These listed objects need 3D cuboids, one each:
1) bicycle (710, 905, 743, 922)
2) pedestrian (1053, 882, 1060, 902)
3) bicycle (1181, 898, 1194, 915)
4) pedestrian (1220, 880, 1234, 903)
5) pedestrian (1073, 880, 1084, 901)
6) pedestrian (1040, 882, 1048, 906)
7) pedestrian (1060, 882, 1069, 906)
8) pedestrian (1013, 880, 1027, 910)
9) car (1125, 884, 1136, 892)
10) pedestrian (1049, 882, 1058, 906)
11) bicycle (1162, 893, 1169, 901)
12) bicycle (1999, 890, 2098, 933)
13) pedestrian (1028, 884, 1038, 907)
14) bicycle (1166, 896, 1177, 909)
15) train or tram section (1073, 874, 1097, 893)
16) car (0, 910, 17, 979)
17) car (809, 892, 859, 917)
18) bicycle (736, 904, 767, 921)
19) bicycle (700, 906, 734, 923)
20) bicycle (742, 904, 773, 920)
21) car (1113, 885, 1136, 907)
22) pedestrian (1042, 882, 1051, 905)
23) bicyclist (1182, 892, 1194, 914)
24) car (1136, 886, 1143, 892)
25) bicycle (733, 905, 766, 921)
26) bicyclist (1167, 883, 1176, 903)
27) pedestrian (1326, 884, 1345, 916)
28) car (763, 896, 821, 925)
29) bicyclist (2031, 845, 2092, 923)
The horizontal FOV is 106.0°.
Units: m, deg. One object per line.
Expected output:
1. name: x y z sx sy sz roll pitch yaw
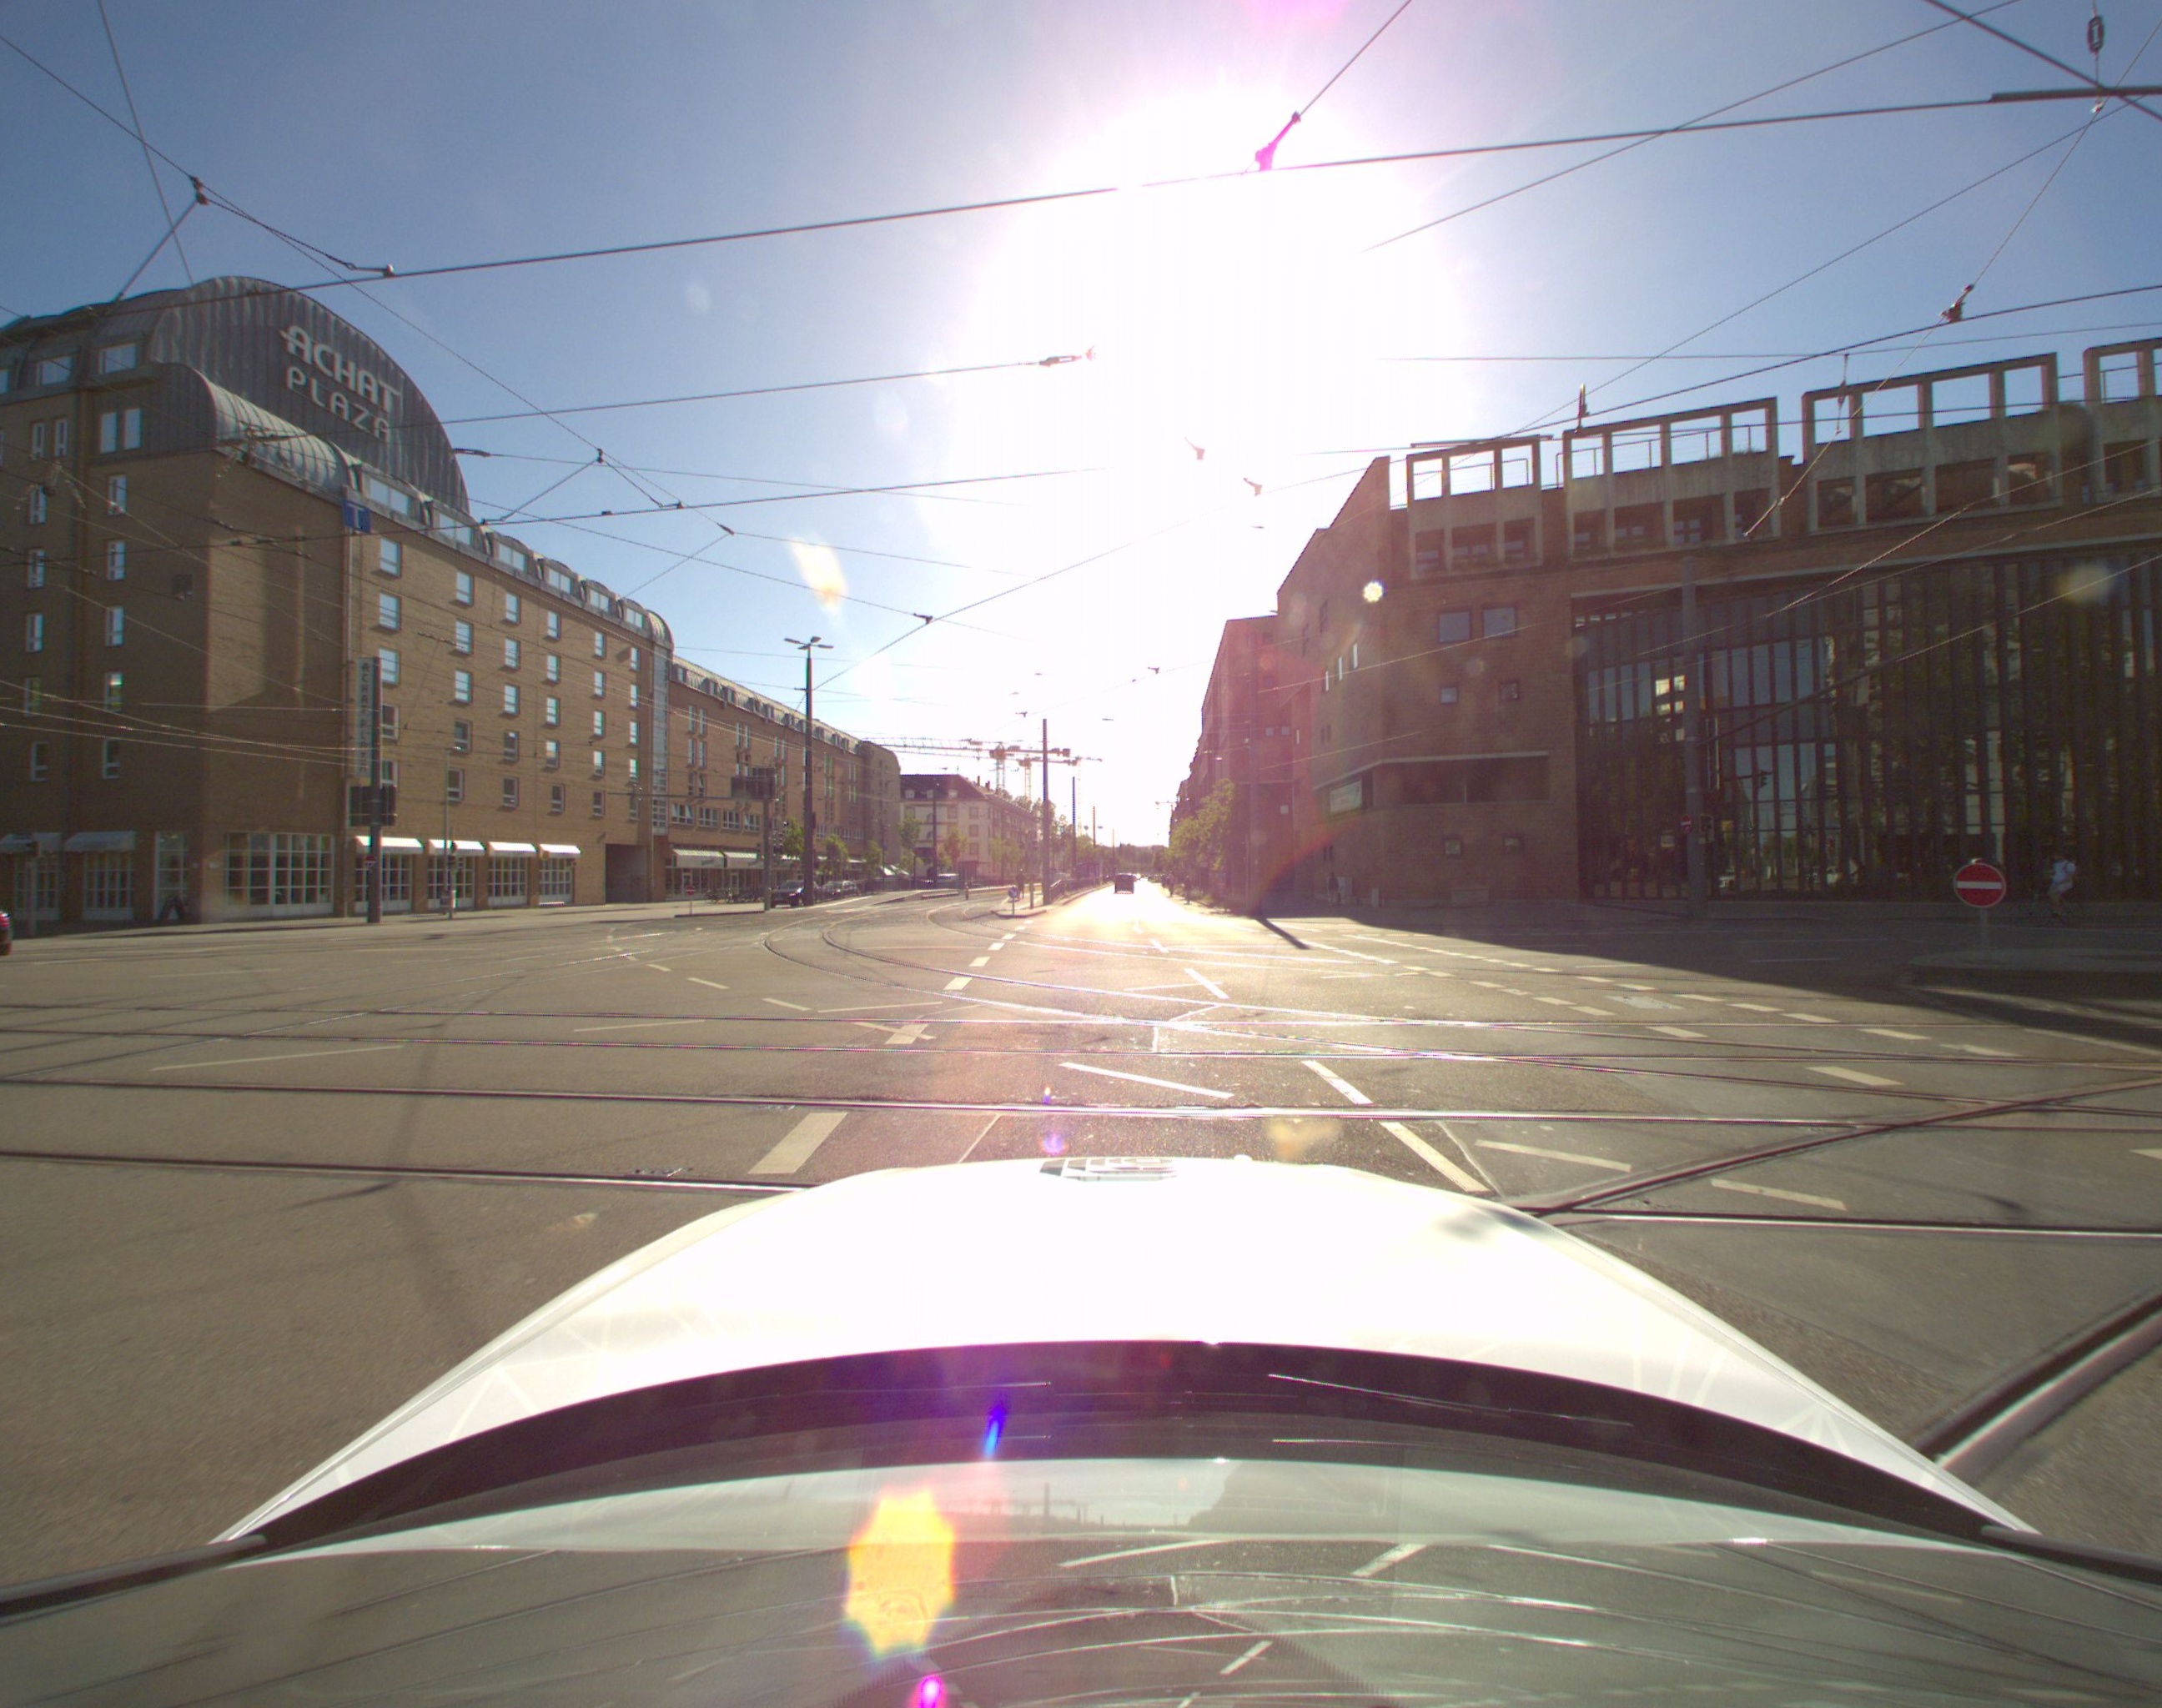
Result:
1. bicycle: -28.188 4.701 64.770 2.467 1.310 0.736 -2 -3 13
2. pedestrian: -2.012 3.094 66.264 0.536 1.655 0.633 -1 -3 2
3. bicycle: 6.652 3.279 50.949 0.600 0.985 2.315 -1 -3 2
4. pedestrian: 11.137 2.839 61.984 0.876 1.717 0.931 -1 -3 2
5. pedestrian: -0.188 2.977 66.858 0.717 1.735 0.599 0 -3 -15
6. pedestrian: -2.588 2.830 57.045 0.508 1.655 0.762 -1 -3 2
7. pedestrian: -1.173 2.838 57.335 0.536 1.655 0.706 -1 -3 2
8. pedestrian: -3.594 2.392 47.802 0.612 1.669 0.864 -4 -2 1
9. car: 10.192 7.005 167.525 1.986 1.728 4.001 -1 -2 2
10. pedestrian: -1.941 2.837 57.303 0.536 1.655 0.896 -1 -3 2
11. bicycle: 9.789 4.994 94.594 0.664 0.985 2.586 -1 -3 2
12. bicycle: 24.102 1.421 20.298 1.664 0.995 0.672 -1 -3 -3
13. pedestrian: -3.373 2.916 57.579 0.598 1.567 0.914 -1 -3 2
14. bicycle: 7.160 3.821 64.284 0.664 0.985 2.586 -1 -3 2
15. train or tram section: 0.758 4.892 134.917 2.314 3.004 13.182 0 -2 7
16. car: -25.151 2.000 17.989 4.462 1.449 1.743 -3 -3 35
17. car: -16.157 3.287 53.526 1.602 1.398 4.231 -5 -2 4
18. bicycle: -27.456 4.874 67.845 2.467 1.310 0.736 -2 -3 13
19. bicycle: -28.512 4.734 63.851 2.467 1.310 0.736 -2 -3 13
20. bicycle: -27.324 4.902 68.744 2.467 1.310 0.736 -2 -3 13
21. car: 3.986 3.853 75.005 1.986 1.948 4.001 -1 -3 2
22. pedestrian: -2.608 2.977 61.606 0.536 1.774 0.633 -1 -3 2
23. bicyclist: 6.629 3.049 50.405 0.590 1.336 0.933 -1 -3 2
24. car: 16.403 9.859 229.779 1.985 1.420 4.003 -1 -2 4
25. bicycle: -27.128 4.820 66.664 2.467 1.310 0.736 -2 -3 13
26. bicyclist: 7.149 3.094 64.150 0.664 1.527 0.707 -1 -3 2
27. pedestrian: 12.369 2.227 39.583 0.615 1.563 0.987 -1 -3 1
28. car: -16.541 3.199 46.791 1.602 1.398 3.923 -5 -2 4
29. bicyclist: 24.445 0.749 20.318 0.604 1.884 0.650 -1 -3 -1
